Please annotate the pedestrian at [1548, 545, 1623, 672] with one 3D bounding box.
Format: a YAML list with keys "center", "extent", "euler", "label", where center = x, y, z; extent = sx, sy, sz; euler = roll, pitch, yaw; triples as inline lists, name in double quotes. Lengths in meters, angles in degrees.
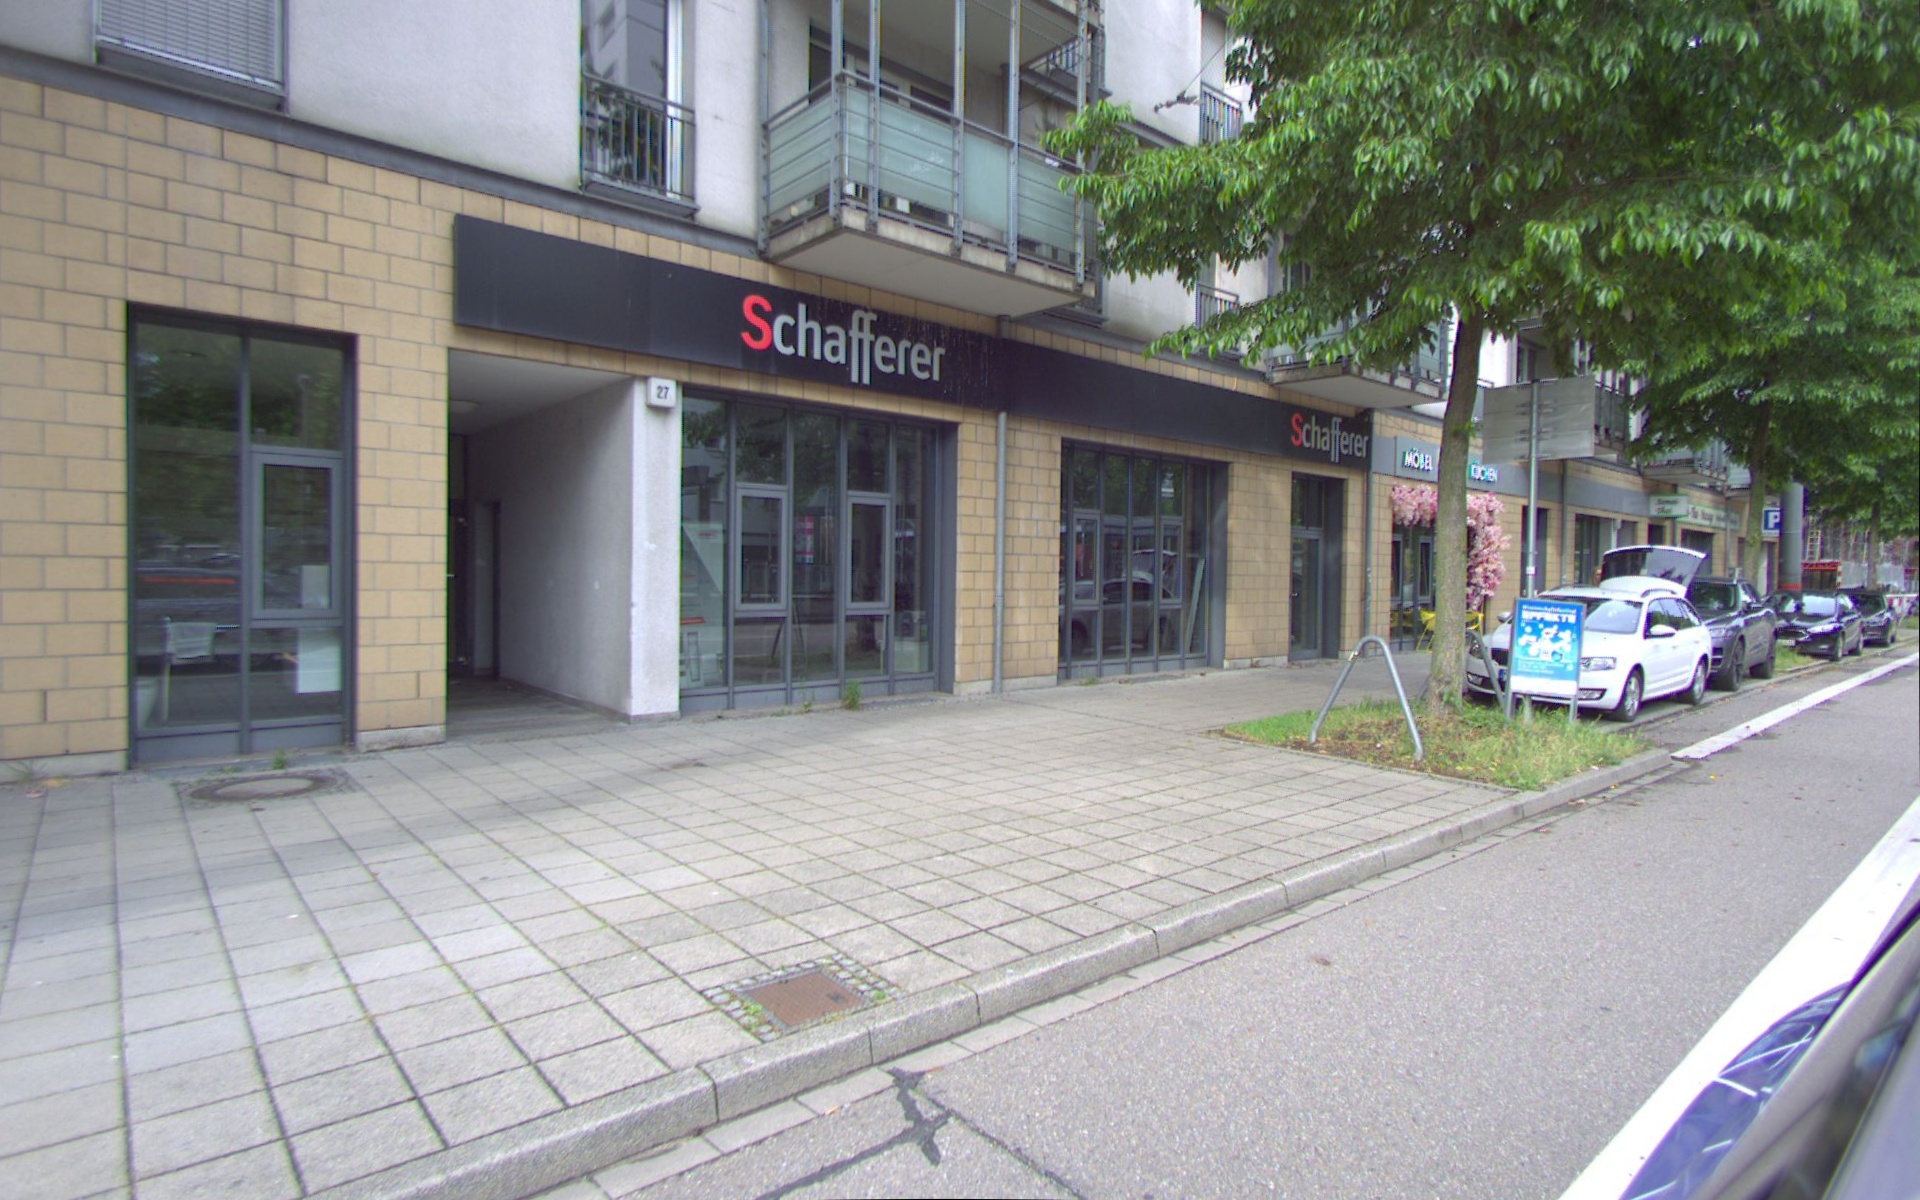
- center: [9.360, 0.118, 15.143]
  extent: [0.825, 1.828, 0.744]
  euler: [0, 0, -42]
  label: "pedestrian"

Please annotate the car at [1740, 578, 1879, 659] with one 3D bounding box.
- center: [18.484, 0.335, 21.968]
  extent: [3.874, 1.564, 1.684]
  euler: [-1, 3, -41]
  label: "car"

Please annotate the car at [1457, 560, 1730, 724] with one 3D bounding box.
- center: [8.033, 0.399, 12.704]
  extent: [4.032, 1.682, 1.730]
  euler: [-1, 4, -41]
  label: "car"

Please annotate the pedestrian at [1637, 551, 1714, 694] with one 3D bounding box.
- center: [10.115, 0.307, 14.317]
  extent: [0.630, 1.958, 0.655]
  euler: [0, 0, -26]
  label: "pedestrian"

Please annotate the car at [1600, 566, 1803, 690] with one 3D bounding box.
- center: [11.811, 0.346, 16.037]
  extent: [3.874, 1.682, 1.730]
  euler: [-1, 3, -41]
  label: "car"

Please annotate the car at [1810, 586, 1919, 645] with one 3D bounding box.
- center: [24.139, 0.355, 26.923]
  extent: [3.749, 1.400, 1.730]
  euler: [-1, 3, -41]
  label: "car"
